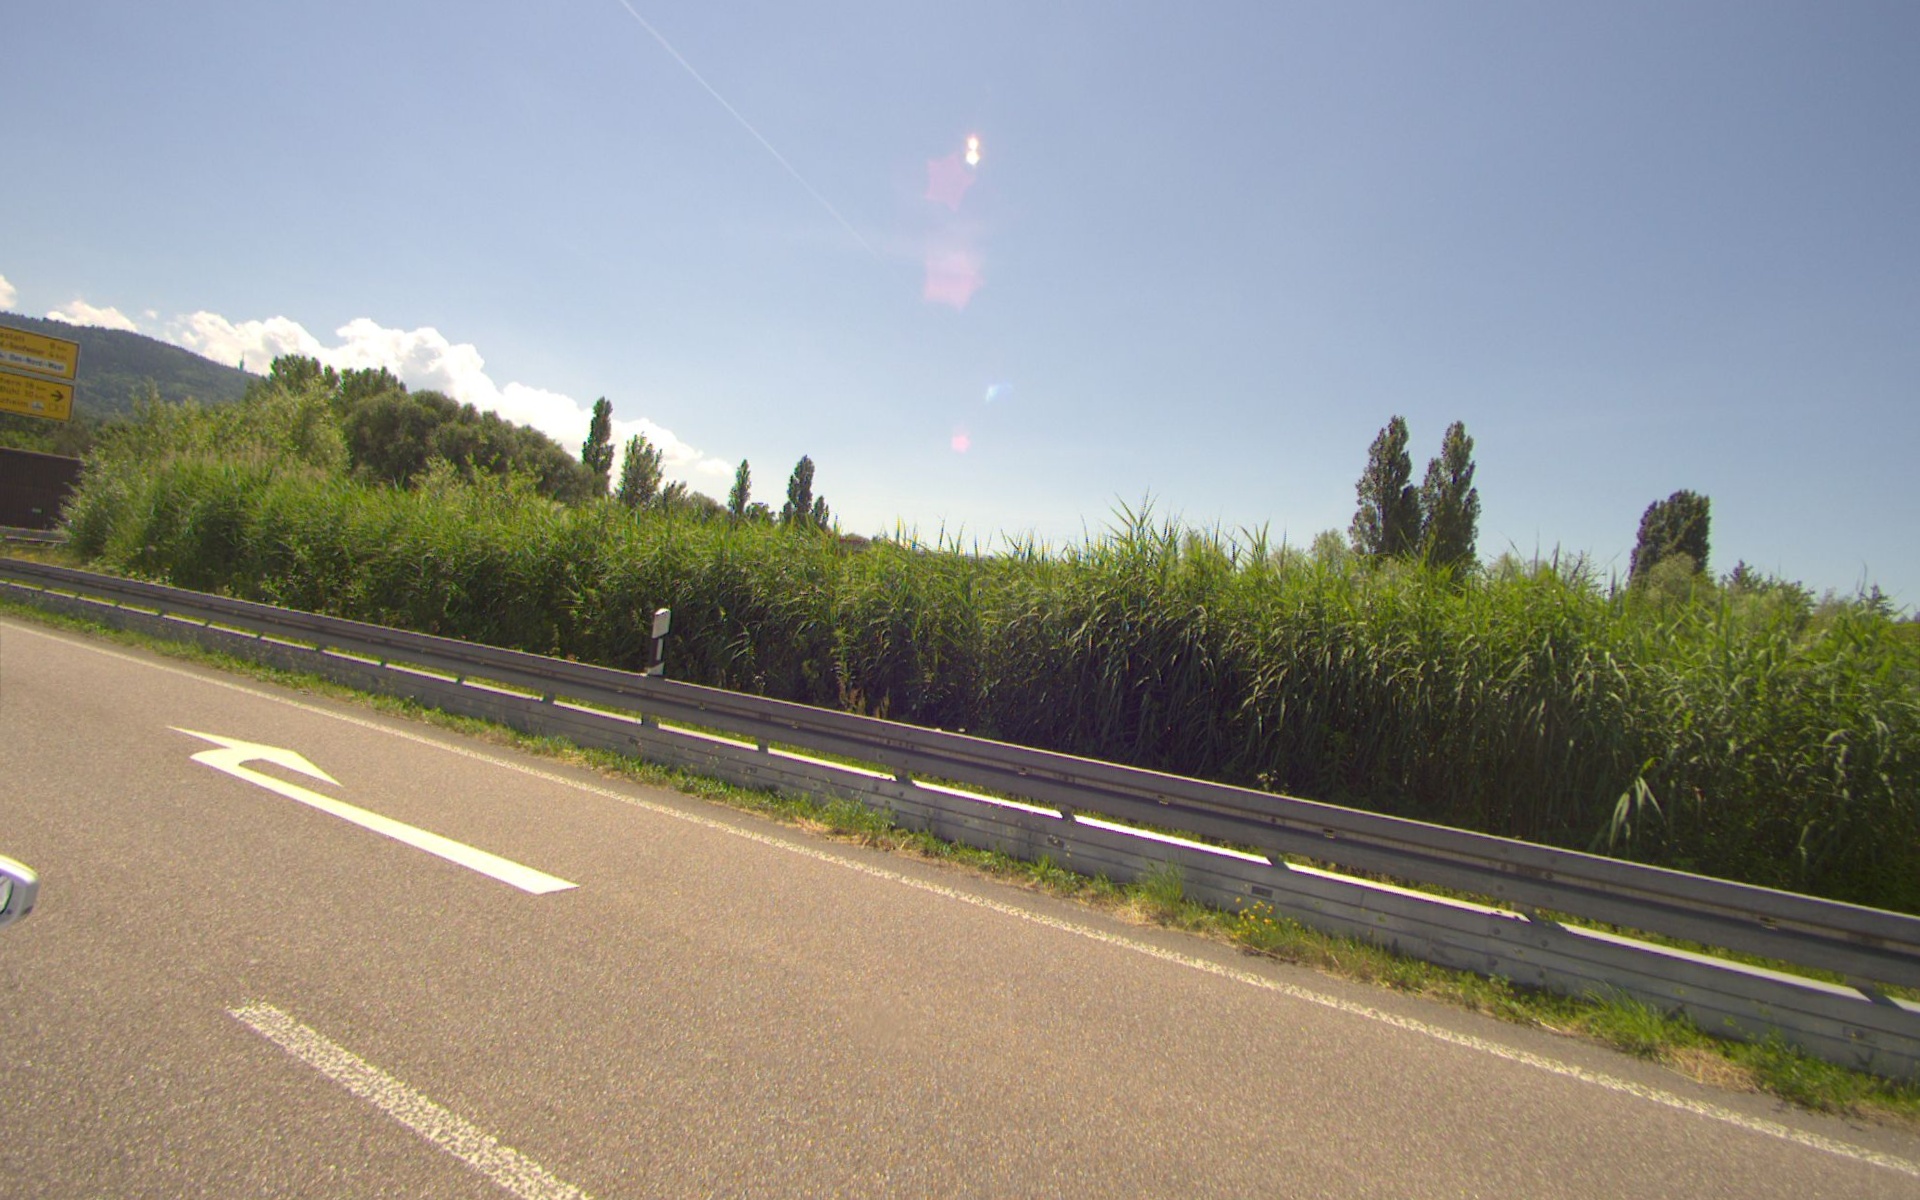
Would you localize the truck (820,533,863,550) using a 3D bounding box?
[{"bbox_3d":[-19.454,-9.565,165.193,6.806,2.037,2.347,6,-1,32],"label":"truck"}]
